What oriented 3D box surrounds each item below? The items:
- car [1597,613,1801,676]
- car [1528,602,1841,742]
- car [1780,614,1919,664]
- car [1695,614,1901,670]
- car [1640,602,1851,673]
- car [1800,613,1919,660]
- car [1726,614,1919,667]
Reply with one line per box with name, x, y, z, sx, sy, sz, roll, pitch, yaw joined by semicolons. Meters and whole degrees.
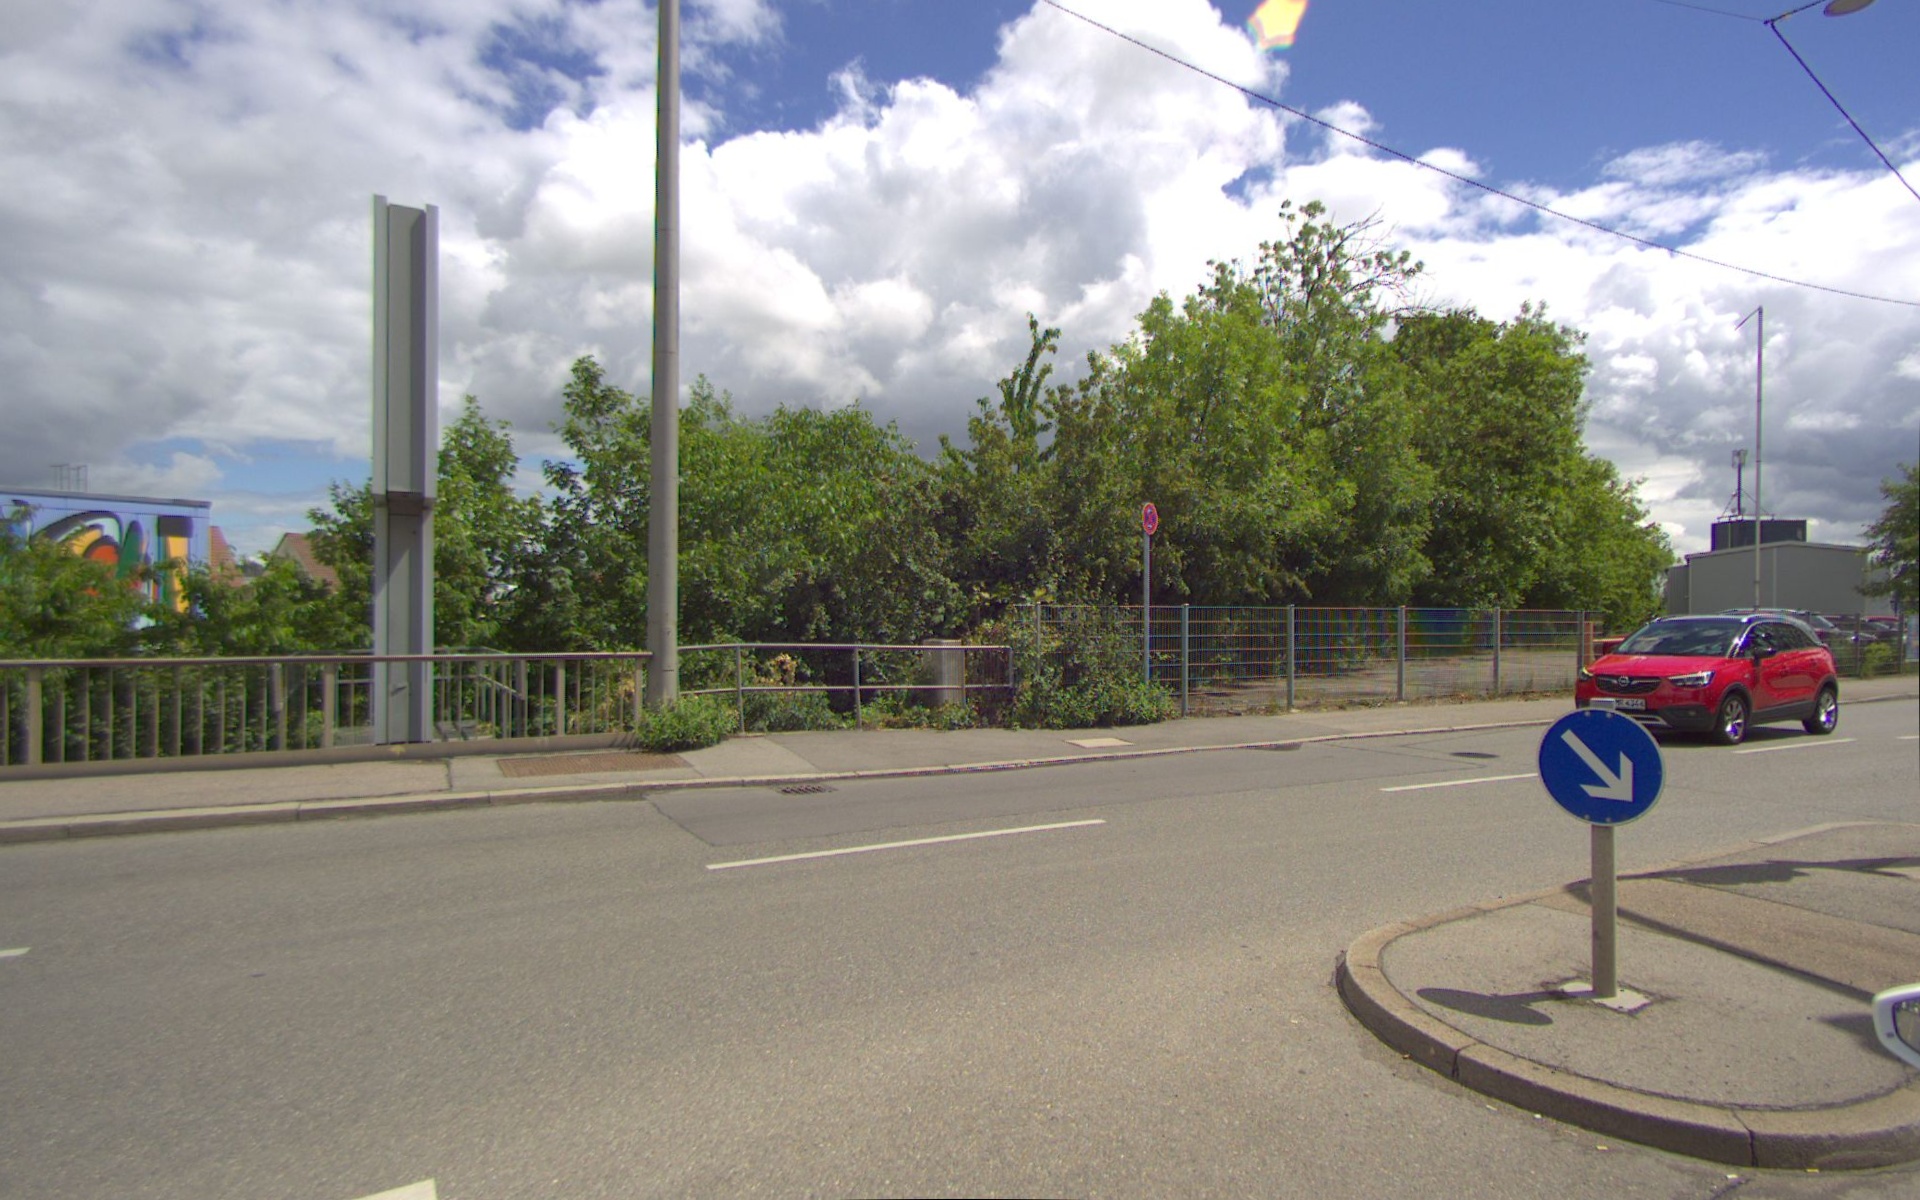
car;18.613;1.060;25.418;1.886;1.438;3.821;1;-1;-39
car;9.817;0.892;13.566;4.104;1.620;1.922;1;-2;-30
car;28.202;1.179;31.029;1.893;1.438;4.084;1;-1;-30
car;23.583;1.127;28.421;1.977;1.438;4.082;1;-1;-31
car;20.929;0.957;26.900;1.980;1.757;4.077;1;-1;-34
car;30.579;1.176;32.927;2.000;1.438;4.292;1;-1;-29
car;25.539;1.154;29.794;1.979;1.438;4.079;1;-1;-33
